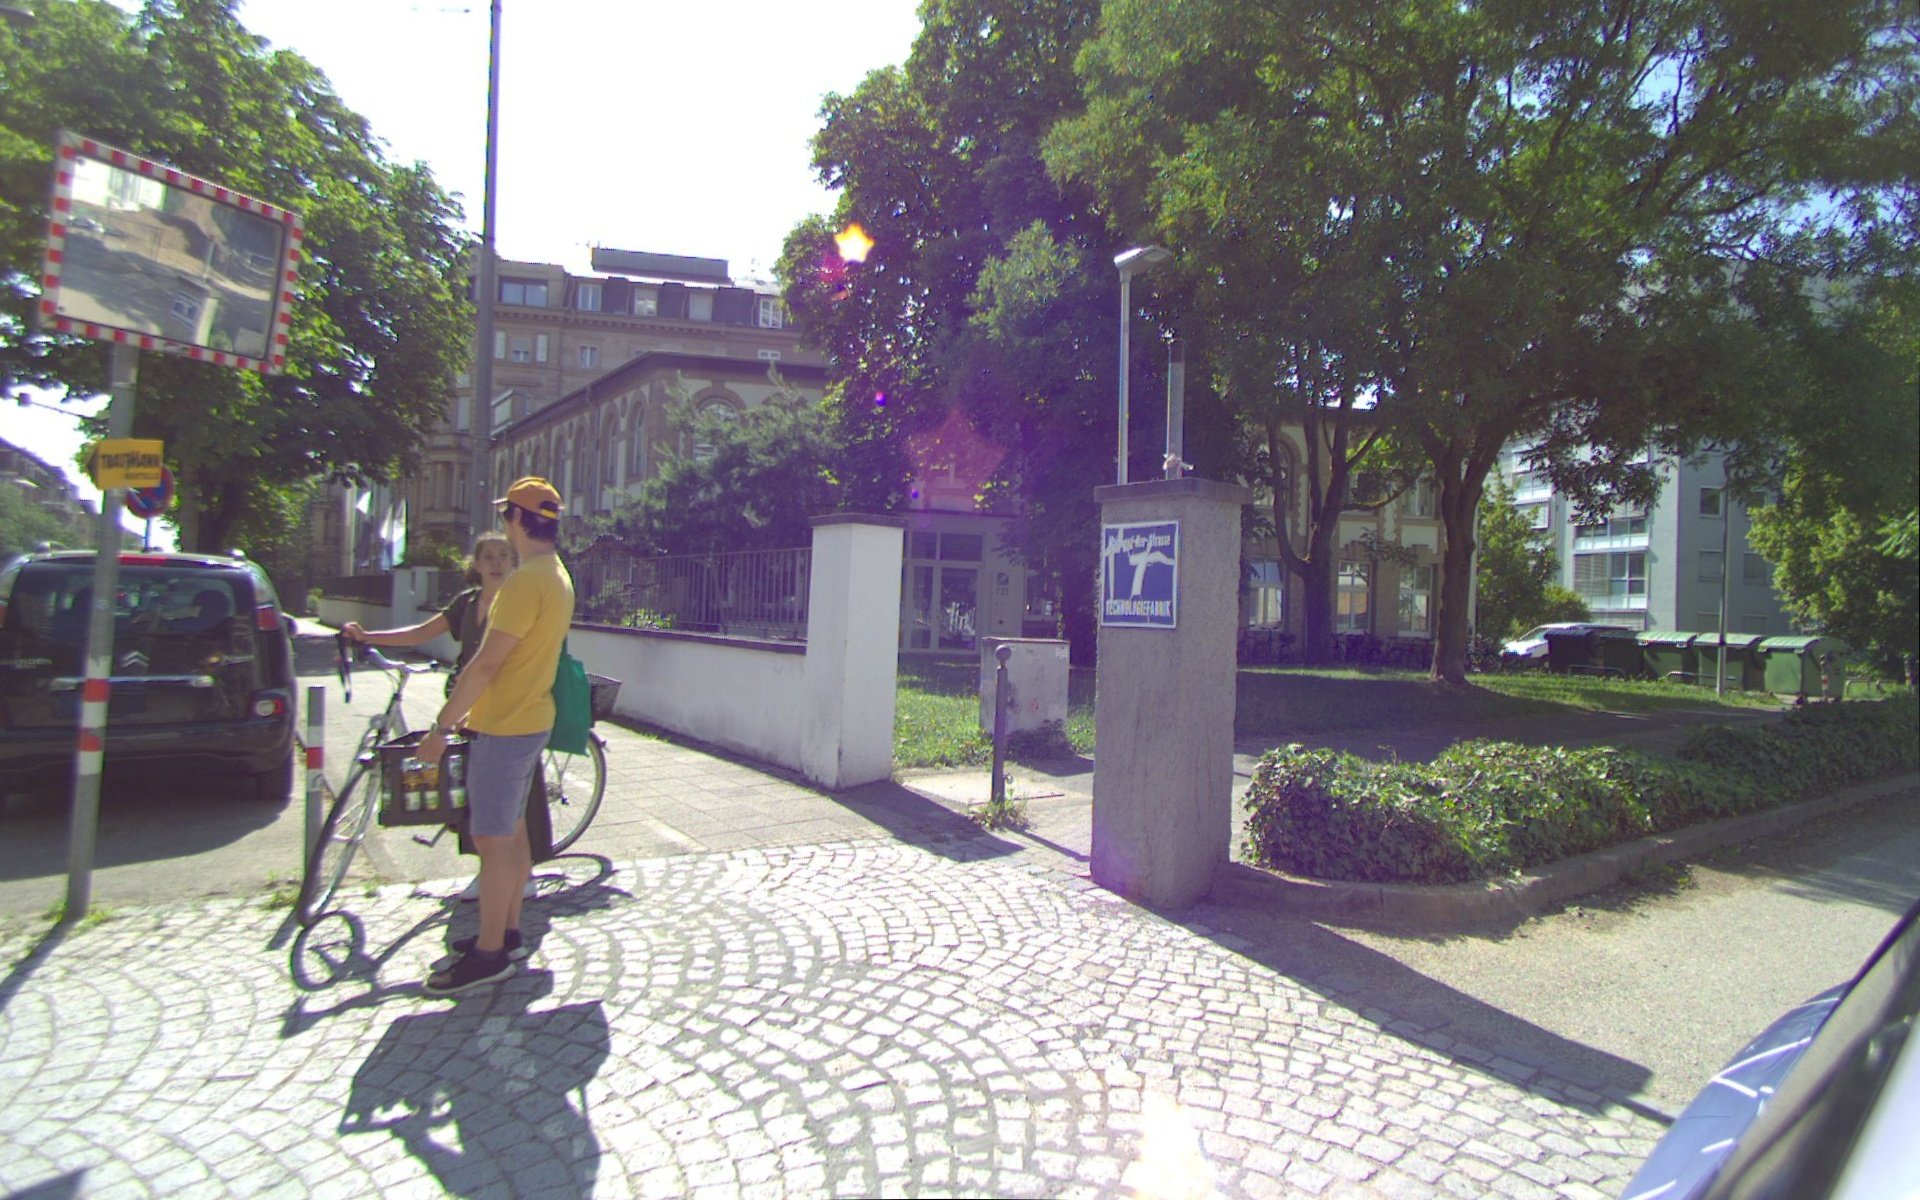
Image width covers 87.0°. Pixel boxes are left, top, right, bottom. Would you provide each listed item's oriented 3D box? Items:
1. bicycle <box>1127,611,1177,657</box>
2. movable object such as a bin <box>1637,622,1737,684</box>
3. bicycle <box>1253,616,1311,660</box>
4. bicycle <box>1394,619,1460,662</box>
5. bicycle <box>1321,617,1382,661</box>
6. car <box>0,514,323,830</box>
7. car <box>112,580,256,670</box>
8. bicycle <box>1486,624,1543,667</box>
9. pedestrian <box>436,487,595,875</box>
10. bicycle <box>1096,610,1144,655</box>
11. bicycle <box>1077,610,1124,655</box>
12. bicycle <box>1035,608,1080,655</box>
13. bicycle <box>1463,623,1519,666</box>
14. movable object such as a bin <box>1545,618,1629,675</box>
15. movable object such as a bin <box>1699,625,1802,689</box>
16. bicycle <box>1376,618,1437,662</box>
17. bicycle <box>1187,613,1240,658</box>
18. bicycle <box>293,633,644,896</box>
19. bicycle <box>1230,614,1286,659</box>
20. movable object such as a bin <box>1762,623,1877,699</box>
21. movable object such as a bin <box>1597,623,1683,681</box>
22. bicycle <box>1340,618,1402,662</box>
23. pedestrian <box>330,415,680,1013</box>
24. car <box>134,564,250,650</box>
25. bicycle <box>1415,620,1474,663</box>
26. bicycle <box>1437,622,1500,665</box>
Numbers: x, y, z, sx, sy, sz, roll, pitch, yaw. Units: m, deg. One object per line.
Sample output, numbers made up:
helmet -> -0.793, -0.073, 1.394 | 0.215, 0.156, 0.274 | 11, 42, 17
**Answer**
bicycle -> 5.332, 0.929, 28.199 | 0.576, 1.176, 2.106 | 2, -1, -11
movable object such as a bin -> 17.395, 1.250, 24.244 | 1.190, 1.379, 1.505 | 2, -1, -15
bicycle -> 9.157, 1.060, 28.864 | 0.576, 1.176, 2.106 | 2, -1, -11
bicycle -> 13.646, 1.168, 29.624 | 0.576, 1.176, 2.106 | 2, -1, -11
bicycle -> 11.237, 1.092, 29.130 | 0.576, 1.176, 2.106 | 2, -1, -11
car -> -5.897, 0.372, 7.410 | 1.821, 1.705, 4.000 | 3, -1, -35
car -> -13.936, 0.396, 18.212 | 1.823, 1.429, 3.997 | 3, -1, -38
bicycle -> 16.285, 1.323, 29.765 | 0.546, 1.176, 1.945 | 2, -1, -2
pedestrian -> -2.010, 0.341, 4.594 | 0.419, 1.642, 0.448 | 1, -1, 35
bicycle -> 4.426, 0.884, 28.086 | 0.576, 1.176, 2.106 | 2, -1, -11
bicycle -> 3.852, 0.872, 27.845 | 0.576, 1.176, 2.106 | 2, -1, -11
bicycle -> 2.597, 0.828, 27.150 | 0.576, 1.176, 2.106 | 2, -1, -11
bicycle -> 15.667, 1.305, 29.896 | 0.497, 1.176, 1.807 | 2, -1, -7
movable object such as a bin -> 16.872, 1.231, 27.281 | 1.224, 1.427, 1.439 | 2, -1, -16
movable object such as a bin -> 17.767, 1.268, 22.787 | 1.190, 1.317, 1.358 | 2, -1, -15
bicycle -> 12.941, 1.149, 29.412 | 0.576, 1.176, 1.925 | 2, -1, -11
bicycle -> 7.104, 0.979, 28.463 | 0.576, 1.176, 2.106 | 2, -1, -11
bicycle -> -2.271, 0.699, 4.863 | 0.361, 1.054, 1.493 | 2, -1, 34
bicycle -> 8.421, 1.016, 28.683 | 0.576, 1.176, 2.106 | 2, -1, -11
movable object such as a bin -> 18.058, 1.263, 21.308 | 1.192, 1.481, 1.392 | 2, -1, 0
movable object such as a bin -> 17.285, 1.308, 25.759 | 1.190, 1.366, 1.355 | 2, -1, -15
bicycle -> 11.868, 1.141, 29.311 | 0.576, 1.176, 2.106 | 2, -1, -11
pedestrian -> -1.688, 0.356, 3.790 | 0.825, 1.888, 0.842 | 1, -1, 38
car -> -16.880, 0.136, 22.259 | 1.823, 1.701, 3.997 | 3, -1, -38
bicycle -> 14.200, 1.195, 29.712 | 0.484, 1.176, 1.917 | 2, -1, -11
bicycle -> 15.016, 1.261, 29.926 | 0.600, 1.176, 1.854 | 2, -1, -11
